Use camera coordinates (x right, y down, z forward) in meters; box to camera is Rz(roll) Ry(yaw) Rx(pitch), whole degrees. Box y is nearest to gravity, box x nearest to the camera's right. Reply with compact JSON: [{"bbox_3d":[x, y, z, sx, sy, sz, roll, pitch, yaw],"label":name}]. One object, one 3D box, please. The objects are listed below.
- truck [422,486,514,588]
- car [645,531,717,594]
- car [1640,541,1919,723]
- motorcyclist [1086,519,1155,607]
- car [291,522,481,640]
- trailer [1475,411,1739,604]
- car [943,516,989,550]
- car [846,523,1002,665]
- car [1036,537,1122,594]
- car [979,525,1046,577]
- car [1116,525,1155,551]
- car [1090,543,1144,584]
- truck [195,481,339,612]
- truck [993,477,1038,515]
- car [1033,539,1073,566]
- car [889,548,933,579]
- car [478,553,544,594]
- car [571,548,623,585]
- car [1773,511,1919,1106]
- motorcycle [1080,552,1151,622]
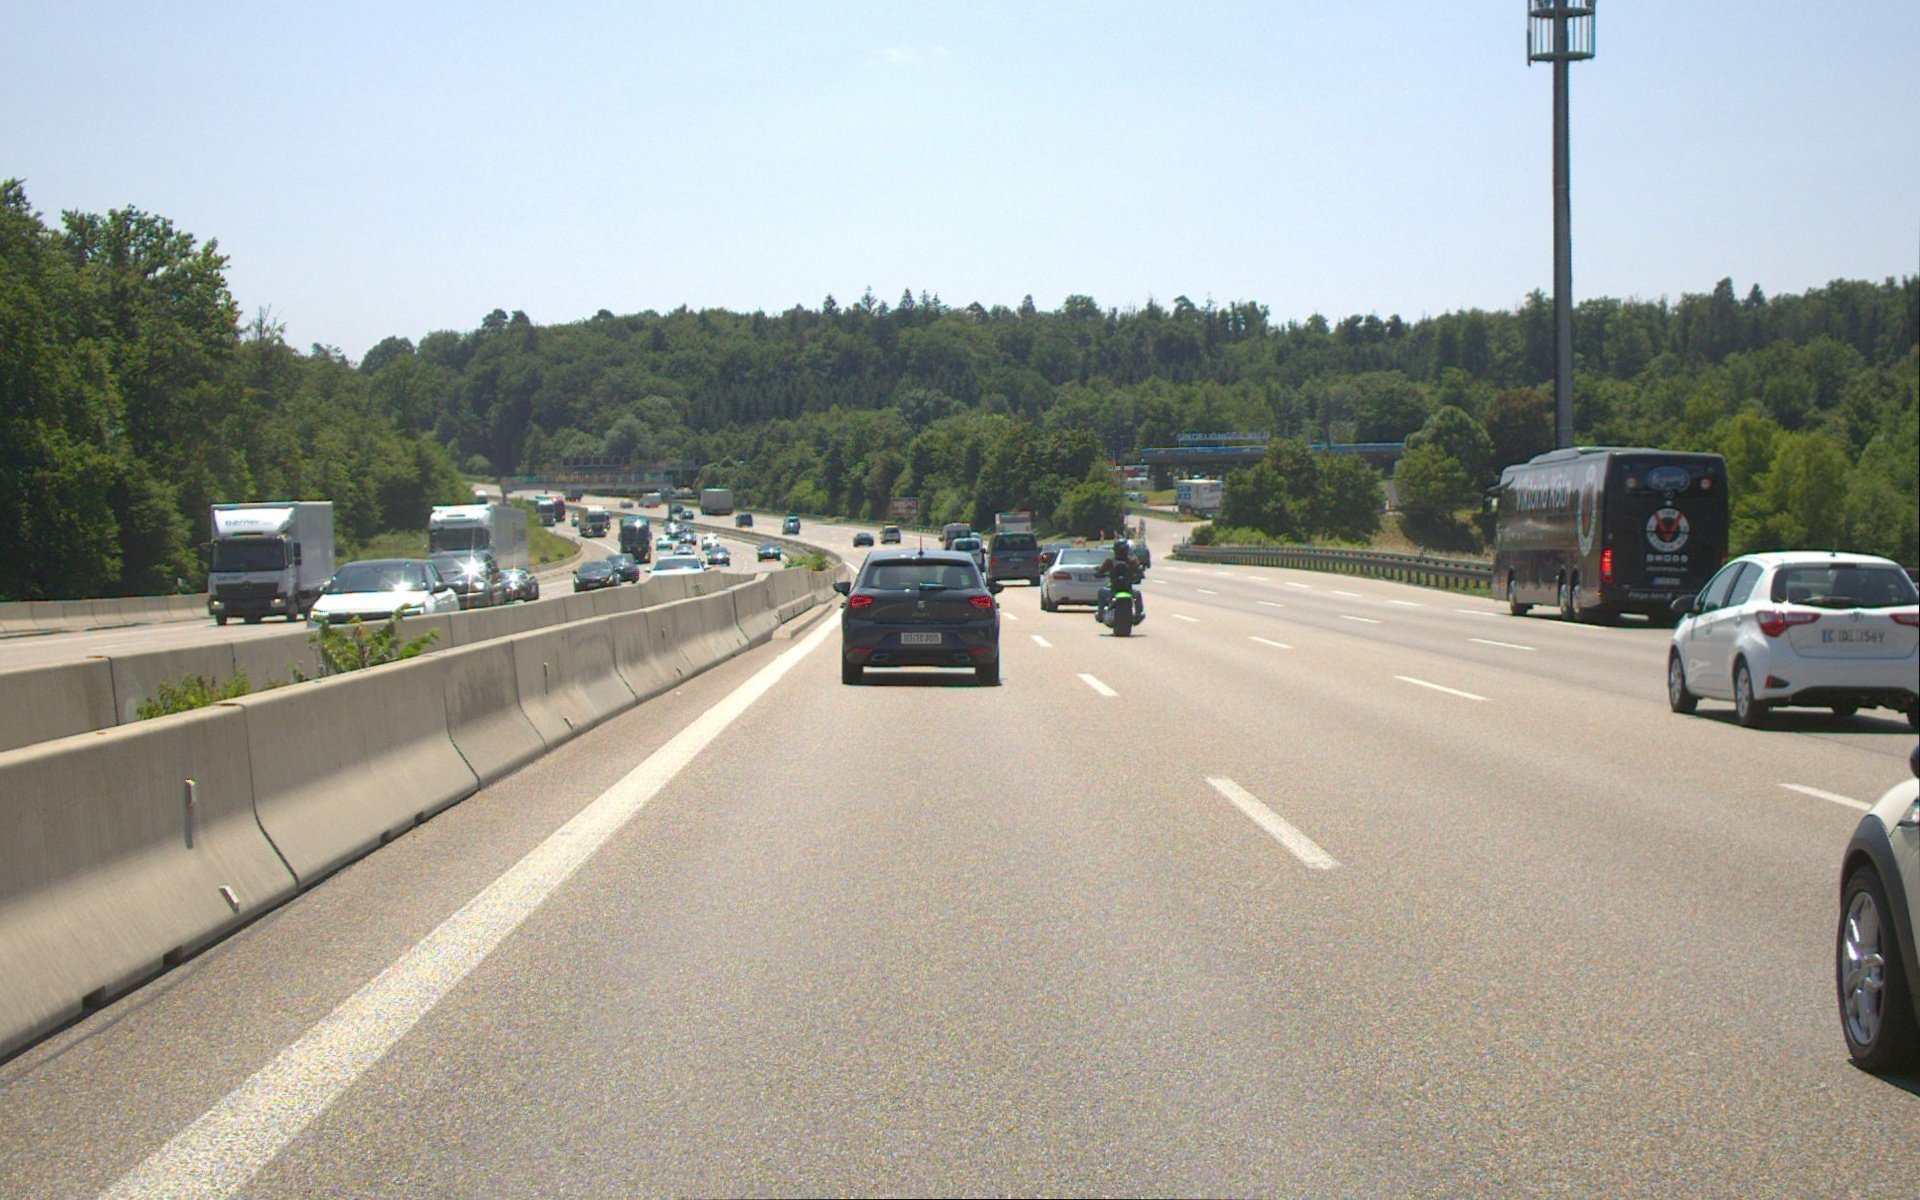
[{"bbox_3d":[-20.686,-2.650,145.013,2.715,4.085,7.877,-3,1,-1],"label":"truck"},{"bbox_3d":[-8.841,-1.210,109.174,1.774,1.873,5.211,1,2,1],"label":"car"},{"bbox_3d":[7.317,0.226,30.268,1.666,1.428,4.376,-2,1,-1],"label":"car"},{"bbox_3d":[2.712,-0.631,58.209,0.962,1.432,1.235,-2,2,-5],"label":"motorcyclist"},{"bbox_3d":[-8.104,-0.312,49.005,1.848,1.518,5.319,-2,1,-1],"label":"car"},{"bbox_3d":[13.562,-1.871,73.417,2.857,3.675,13.543,-1,1,-1],"label":"trailer"},{"bbox_3d":[0.312,-3.492,179.040,1.993,1.678,4.425,1,2,-5],"label":"car"},{"bbox_3d":[-0.387,-0.040,37.799,1.624,1.482,3.685,0,-1,0],"label":"car"},{"bbox_3d":[2.683,-0.796,78.100,1.782,1.261,3.460,-1,1,-1],"label":"car"},{"bbox_3d":[1.892,-1.806,126.136,2.097,1.845,4.082,-1,1,-4],"label":"car"},{"bbox_3d":[8.630,-3.037,169.278,1.608,1.208,3.460,-1,1,-2],"label":"car"},{"bbox_3d":[5.681,-1.331,124.594,1.675,1.427,3.685,-1,1,-2],"label":"car"},{"bbox_3d":[-20.187,-1.570,100.620,2.539,3.558,8.578,-3,1,-1],"label":"truck"},{"bbox_3d":[4.162,-7.839,258.576,2.726,2.776,5.684,1,2,-5],"label":"truck"},{"bbox_3d":[4.328,-2.195,159.812,1.608,1.208,3.460,-1,1,-2],"label":"car"},{"bbox_3d":[-1.995,-1.485,140.481,1.536,1.208,3.460,-1,1,-5],"label":"car"},{"bbox_3d":[-16.021,-0.959,122.774,1.798,1.371,4.532,1,1,-1],"label":"car"},{"bbox_3d":[-15.838,-1.470,150.250,1.798,1.476,4.398,-2,1,-1],"label":"car"},{"bbox_3d":[3.464,0.586,8.713,1.841,1.546,4.001,0,3,0],"label":"car"},{"bbox_3d":[2.633,-0.236,58.393,0.977,1.125,2.271,-1,1,-3],"label":"motorcycle"}]
